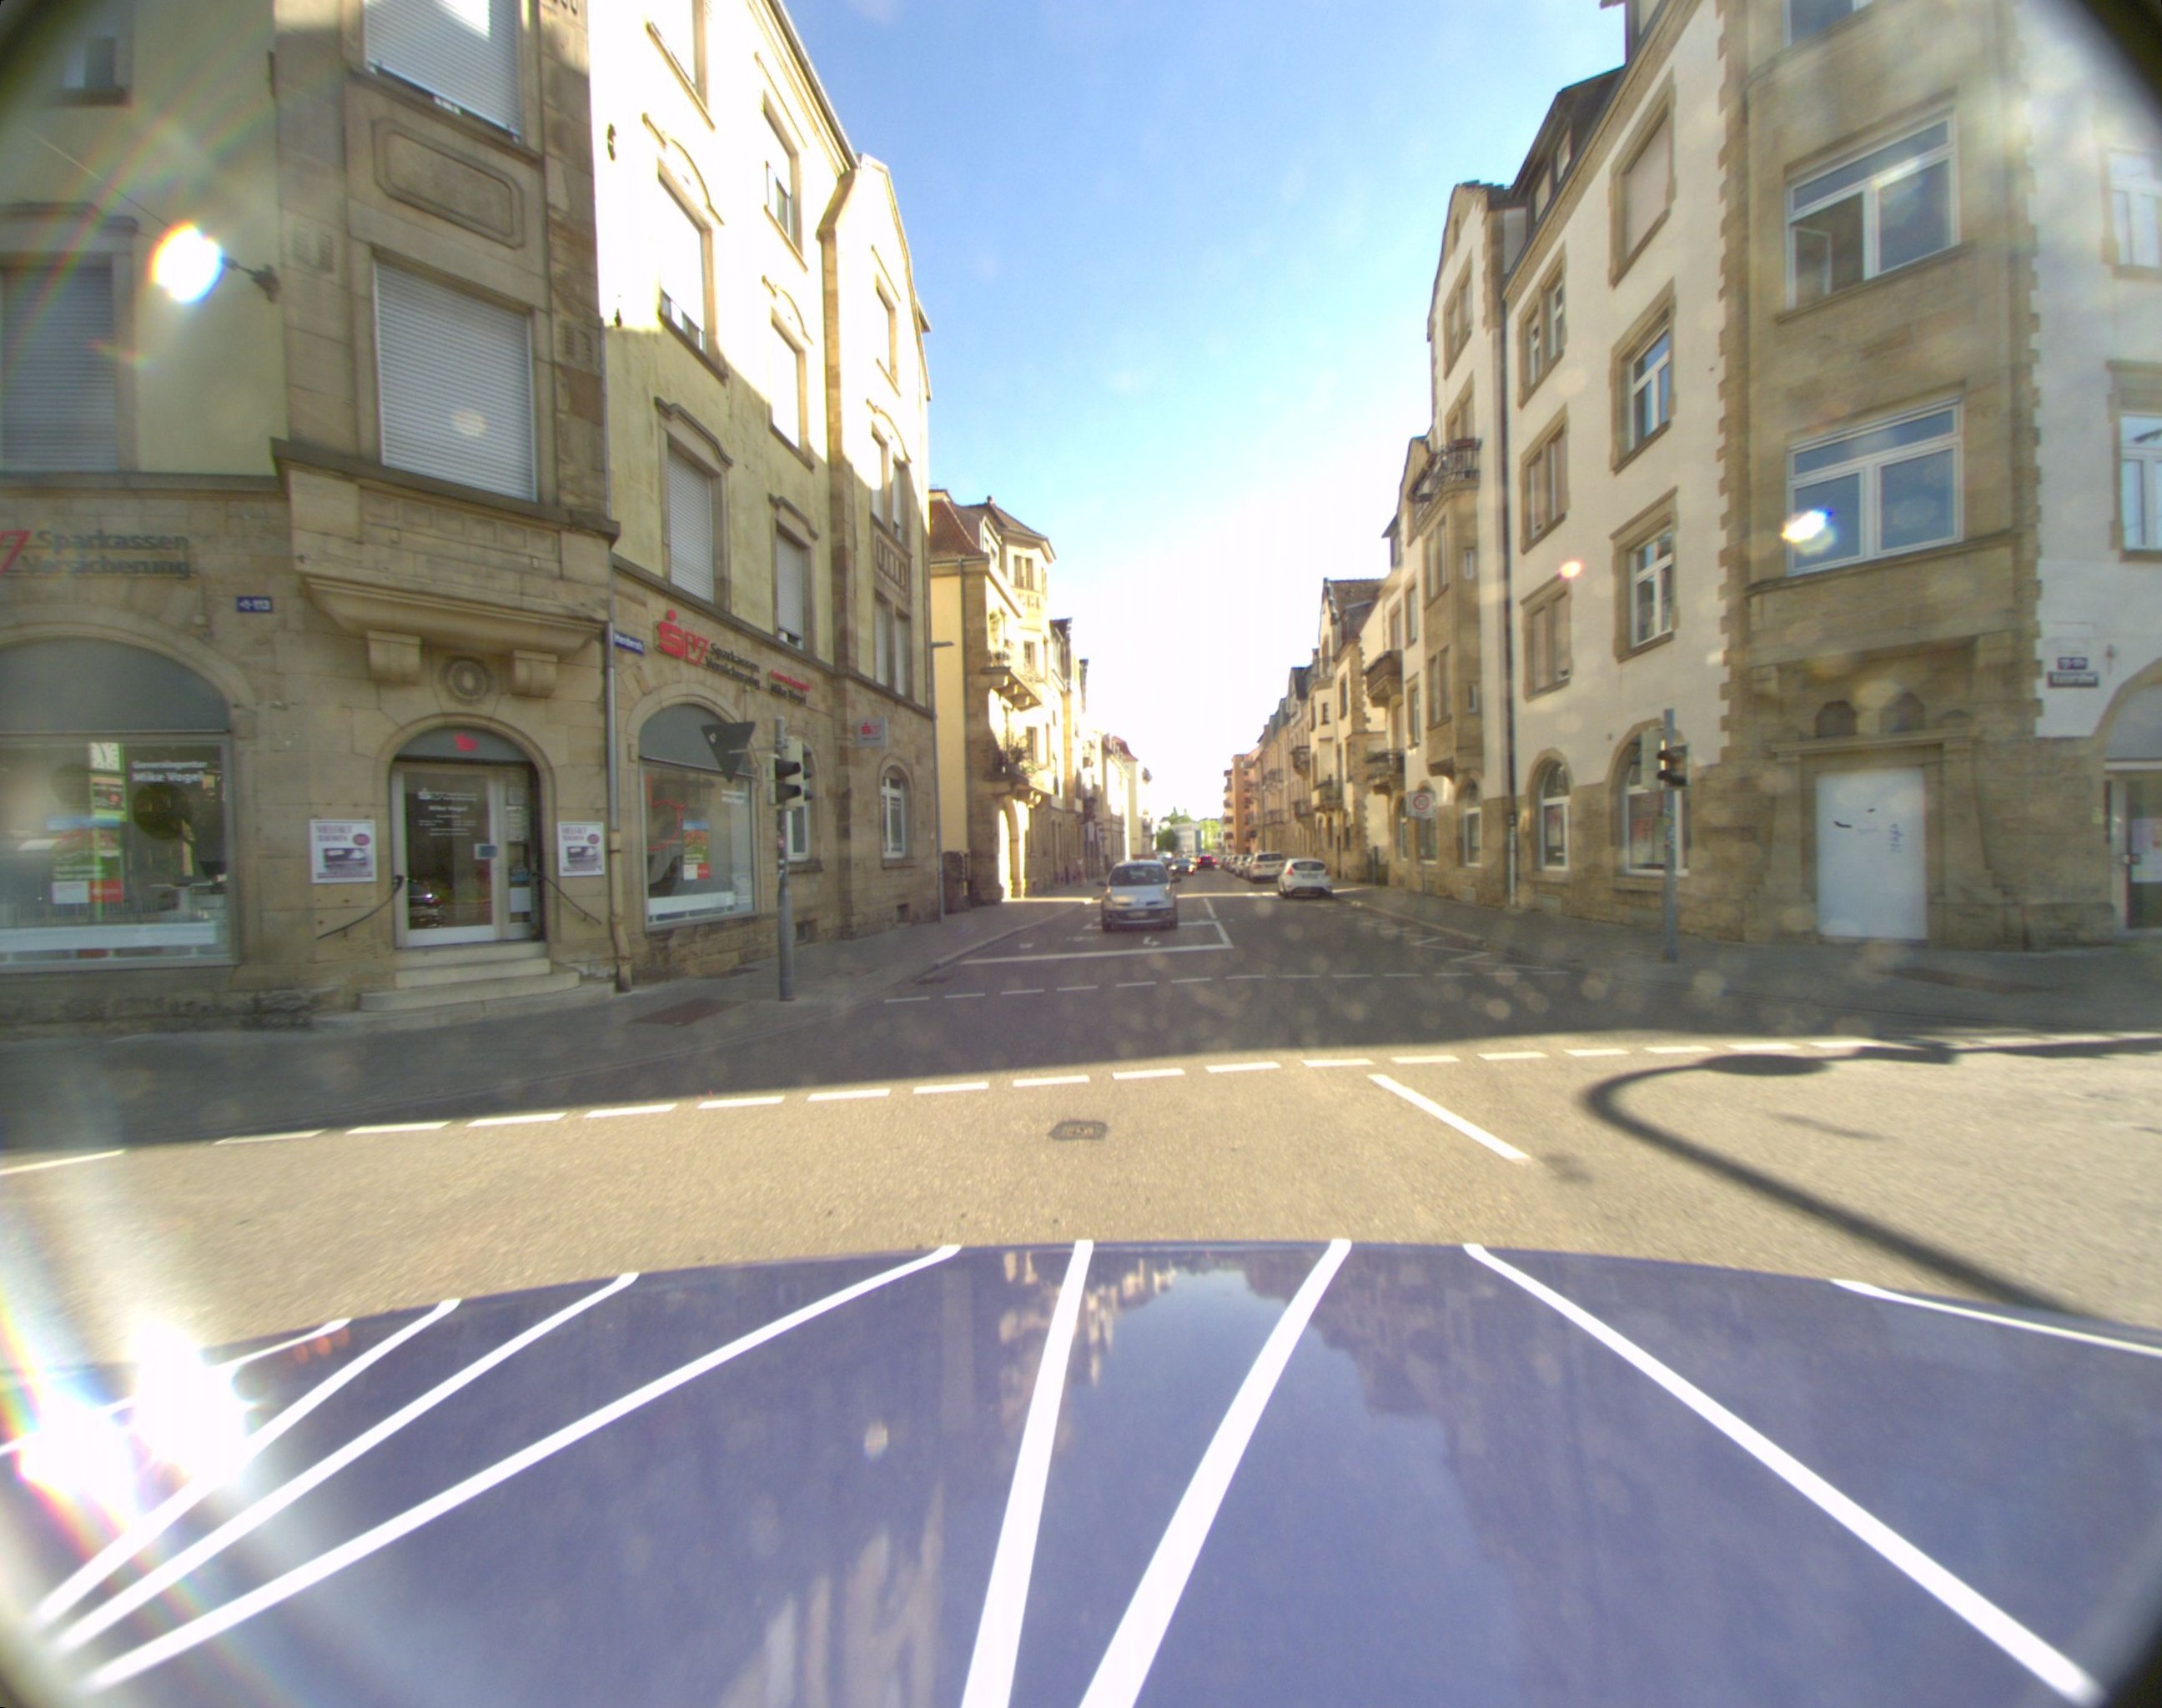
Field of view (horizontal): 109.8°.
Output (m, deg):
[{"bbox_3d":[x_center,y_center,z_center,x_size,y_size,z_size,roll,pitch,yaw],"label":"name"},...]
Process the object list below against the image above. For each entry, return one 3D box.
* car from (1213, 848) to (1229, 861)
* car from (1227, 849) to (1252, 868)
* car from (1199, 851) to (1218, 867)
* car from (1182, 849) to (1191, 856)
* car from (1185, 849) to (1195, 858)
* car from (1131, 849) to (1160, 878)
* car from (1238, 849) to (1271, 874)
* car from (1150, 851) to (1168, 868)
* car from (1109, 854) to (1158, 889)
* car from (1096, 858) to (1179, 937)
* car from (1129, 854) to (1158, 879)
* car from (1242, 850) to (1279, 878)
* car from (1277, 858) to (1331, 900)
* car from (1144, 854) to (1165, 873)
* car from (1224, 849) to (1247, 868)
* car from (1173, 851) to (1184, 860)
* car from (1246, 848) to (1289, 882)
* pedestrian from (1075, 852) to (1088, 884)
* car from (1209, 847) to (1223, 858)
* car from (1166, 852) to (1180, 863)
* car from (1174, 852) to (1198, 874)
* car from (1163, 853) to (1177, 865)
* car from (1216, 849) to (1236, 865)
[{"bbox_3d":[20.779,0.061,113.029,1.916,1.614,4.348,-5,0,7],"label":"car"},{"bbox_3d":[14.154,0.386,68.208,1.916,1.509,4.349,-5,0,9],"label":"car"},{"bbox_3d":[13.743,0.510,81.839,1.916,1.718,4.350,-1,0,10],"label":"car"},{"bbox_3d":[27.133,-0.352,195.281,1.876,1.657,4.002,-3,1,9],"label":"car"},{"bbox_3d":[22.990,-0.056,159.554,1.876,1.657,4.002,-3,1,9],"label":"car"},{"bbox_3d":[5.007,0.712,58.303,1.832,2.022,3.822,-4,-1,8],"label":"car"},{"bbox_3d":[12.389,0.522,54.524,1.916,1.509,4.349,-5,0,9],"label":"car"},{"bbox_3d":[8.569,0.590,83.110,1.832,1.648,3.822,-4,-1,7],"label":"car"},{"bbox_3d":[2.729,0.848,38.582,1.997,1.528,4.003,-4,0,9],"label":"car"},{"bbox_3d":[1.386,0.938,17.753,1.651,1.559,3.618,-4,0,7],"label":"car"},{"bbox_3d":[4.448,0.888,53.863,1.832,1.586,3.822,-4,-1,7],"label":"car"},{"bbox_3d":[11.439,0.594,48.740,1.916,1.509,4.349,-5,0,9],"label":"car"},{"bbox_3d":[8.174,0.885,28.066,1.555,1.403,3.574,1,0,10],"label":"car"},{"bbox_3d":[6.875,0.843,70.863,1.832,1.586,3.822,-4,-1,7],"label":"car"},{"bbox_3d":[15.163,0.398,74.563,1.916,1.614,4.349,-5,0,9],"label":"car"},{"bbox_3d":[18.646,0.253,145.634,1.876,1.657,4.002,-3,1,9],"label":"car"},{"bbox_3d":[10.432,0.564,42.752,1.916,1.649,4.349,-5,0,9],"label":"car"},{"bbox_3d":[0.036,0.744,41.401,0.578,1.712,0.698,0,1,9],"label":"pedestrian"},{"bbox_3d":[21.957,-0.245,123.543,1.916,1.614,4.348,-5,0,7],"label":"car"},{"bbox_3d":[14.811,0.543,122.362,1.876,1.657,4.002,-3,1,9],"label":"car"},{"bbox_3d":[8.926,0.710,64.322,1.876,1.657,4.002,-3,1,9],"label":"car"},{"bbox_3d":[13.618,0.778,116.196,1.876,1.657,4.002,-3,1,9],"label":"car"},{"bbox_3d":[16.154,0.317,84.869,1.916,1.614,4.349,-5,0,9],"label":"car"}]
